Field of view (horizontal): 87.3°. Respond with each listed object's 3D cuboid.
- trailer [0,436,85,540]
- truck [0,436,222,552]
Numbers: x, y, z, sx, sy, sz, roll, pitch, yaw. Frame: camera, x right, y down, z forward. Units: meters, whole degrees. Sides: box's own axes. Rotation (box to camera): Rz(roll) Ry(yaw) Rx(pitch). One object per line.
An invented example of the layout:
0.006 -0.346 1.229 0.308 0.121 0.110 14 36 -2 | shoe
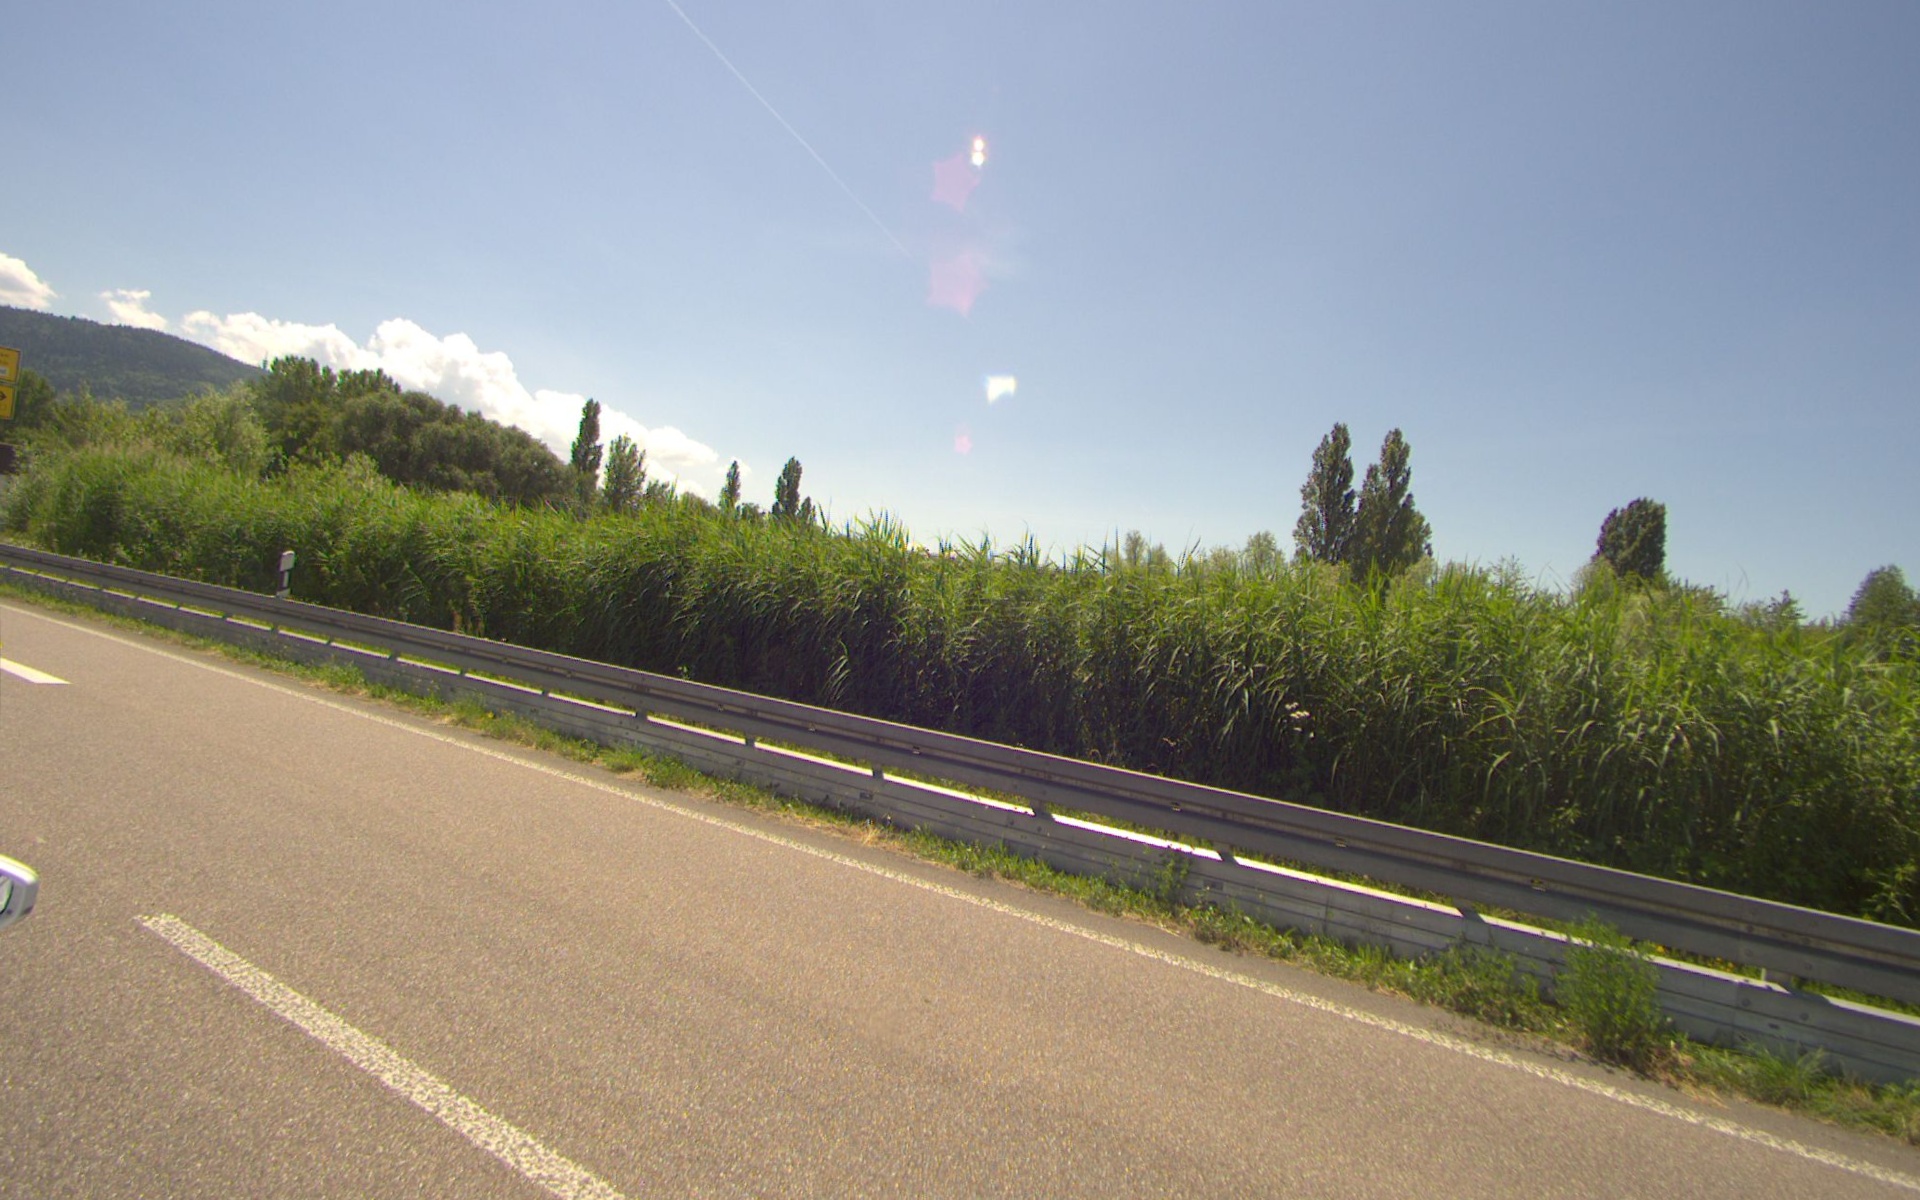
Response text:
-38.219 -4.613 34.369 2.194 3.548 12.340 8 1 29 | trailer
-34.748 -4.203 40.672 2.194 3.548 7.417 8 1 29 | truck
